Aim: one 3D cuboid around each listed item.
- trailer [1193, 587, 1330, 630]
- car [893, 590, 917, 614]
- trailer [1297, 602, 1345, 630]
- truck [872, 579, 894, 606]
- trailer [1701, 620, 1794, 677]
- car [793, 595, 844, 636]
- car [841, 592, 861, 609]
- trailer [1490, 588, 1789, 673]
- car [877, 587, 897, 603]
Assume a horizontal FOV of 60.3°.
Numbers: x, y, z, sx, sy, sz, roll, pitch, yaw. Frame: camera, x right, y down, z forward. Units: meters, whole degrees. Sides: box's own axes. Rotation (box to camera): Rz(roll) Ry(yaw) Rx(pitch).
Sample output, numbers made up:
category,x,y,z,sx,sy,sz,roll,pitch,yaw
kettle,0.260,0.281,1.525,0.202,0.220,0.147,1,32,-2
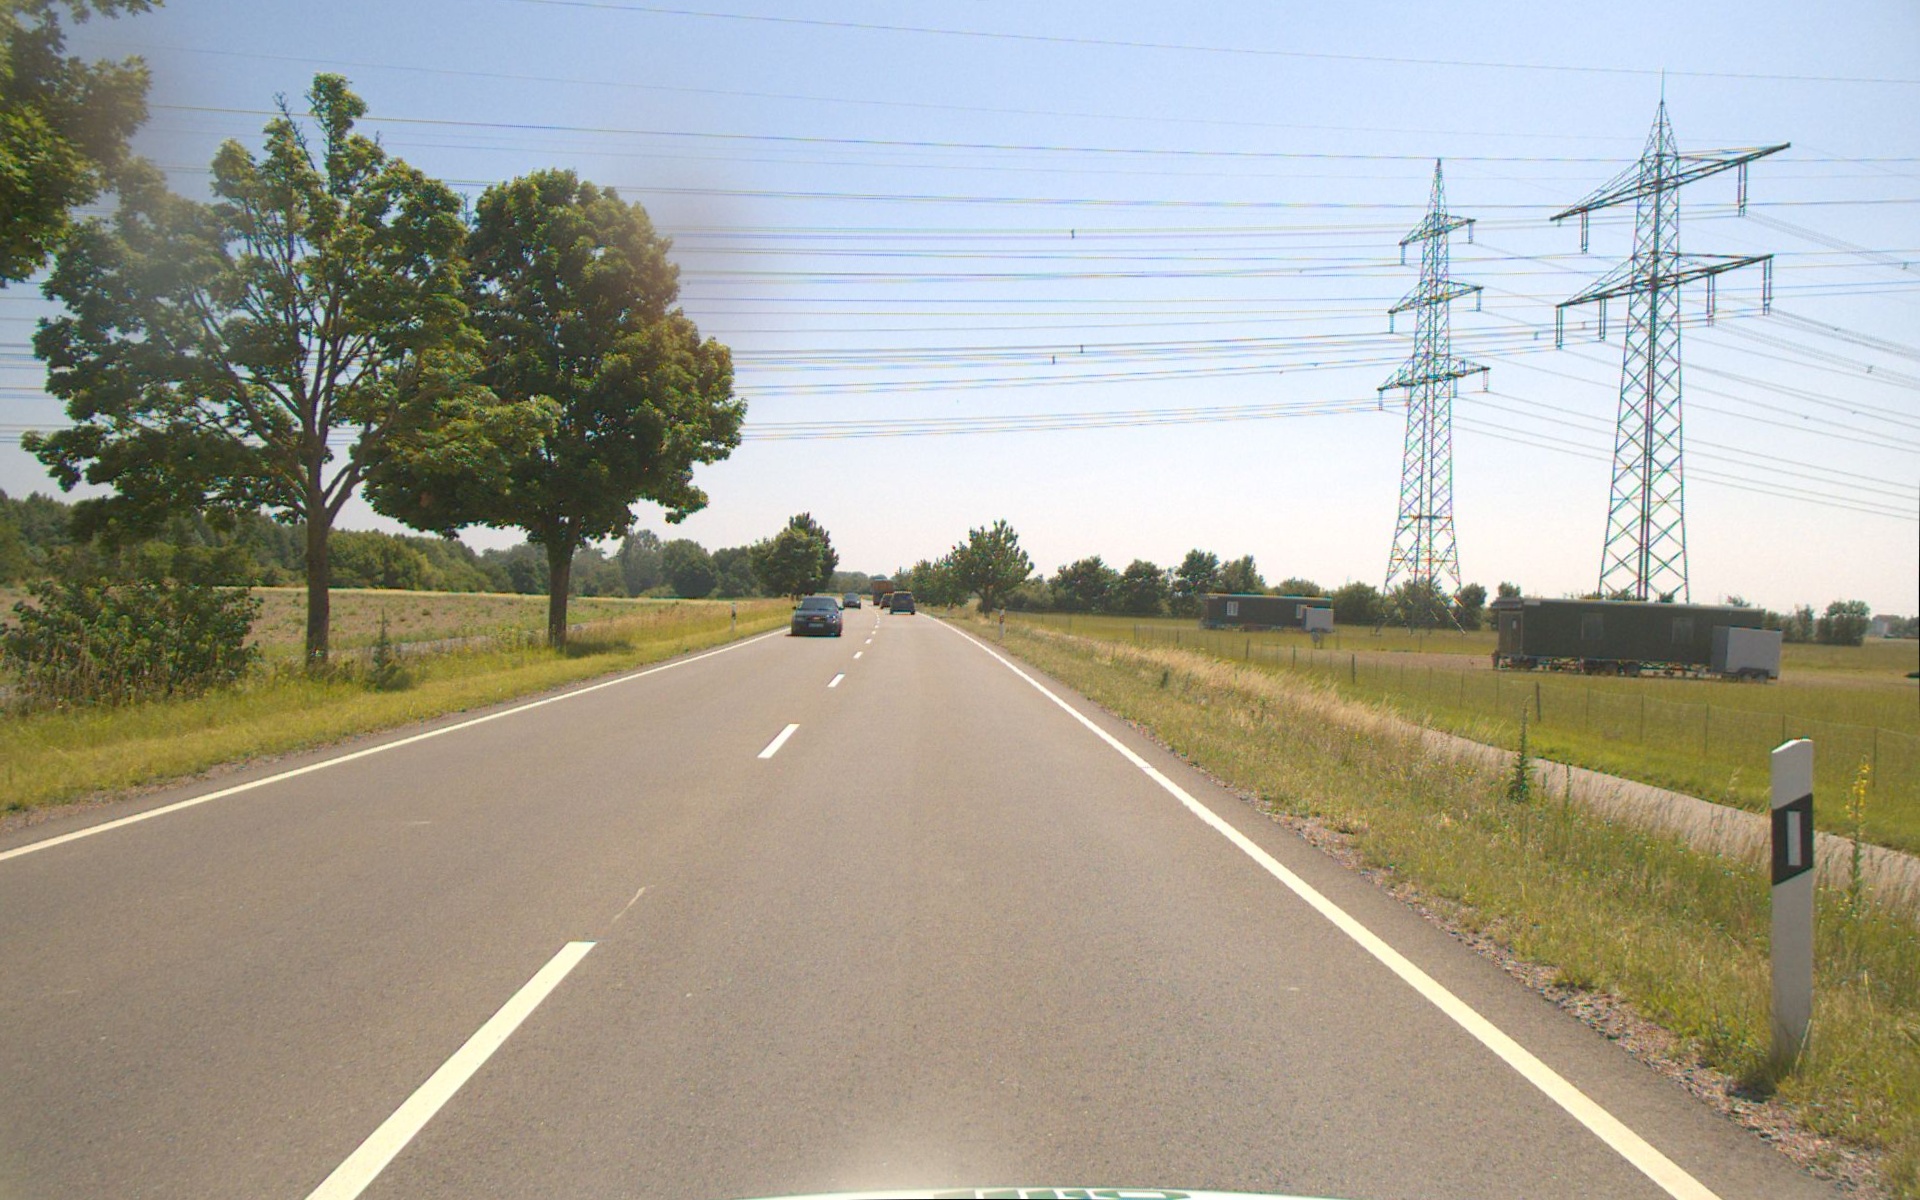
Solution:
category,x,y,z,sx,sy,sz,roll,pitch,yaw
trailer,28.639,0.801,157.313,12.169,3.533,3.801,2,0,-5
car,-4.114,0.154,123.771,1.680,1.723,3.986,1,0,-3
trailer,33.752,1.498,154.680,3.911,2.485,1.997,2,0,-7
truck,-9.487,-0.916,203.350,2.324,3.195,8.738,1,0,-5
trailer,36.941,2.248,77.644,3.340,2.505,2.036,2,0,-4
car,-4.989,0.531,58.720,1.671,1.356,3.998,1,0,-3
car,-10.333,0.071,157.270,1.699,1.473,3.998,1,-1,-2
trailer,32.848,1.447,80.196,13.242,3.535,3.274,2,0,-4
car,-7.065,-0.463,160.068,1.814,1.549,3.997,1,0,-4
